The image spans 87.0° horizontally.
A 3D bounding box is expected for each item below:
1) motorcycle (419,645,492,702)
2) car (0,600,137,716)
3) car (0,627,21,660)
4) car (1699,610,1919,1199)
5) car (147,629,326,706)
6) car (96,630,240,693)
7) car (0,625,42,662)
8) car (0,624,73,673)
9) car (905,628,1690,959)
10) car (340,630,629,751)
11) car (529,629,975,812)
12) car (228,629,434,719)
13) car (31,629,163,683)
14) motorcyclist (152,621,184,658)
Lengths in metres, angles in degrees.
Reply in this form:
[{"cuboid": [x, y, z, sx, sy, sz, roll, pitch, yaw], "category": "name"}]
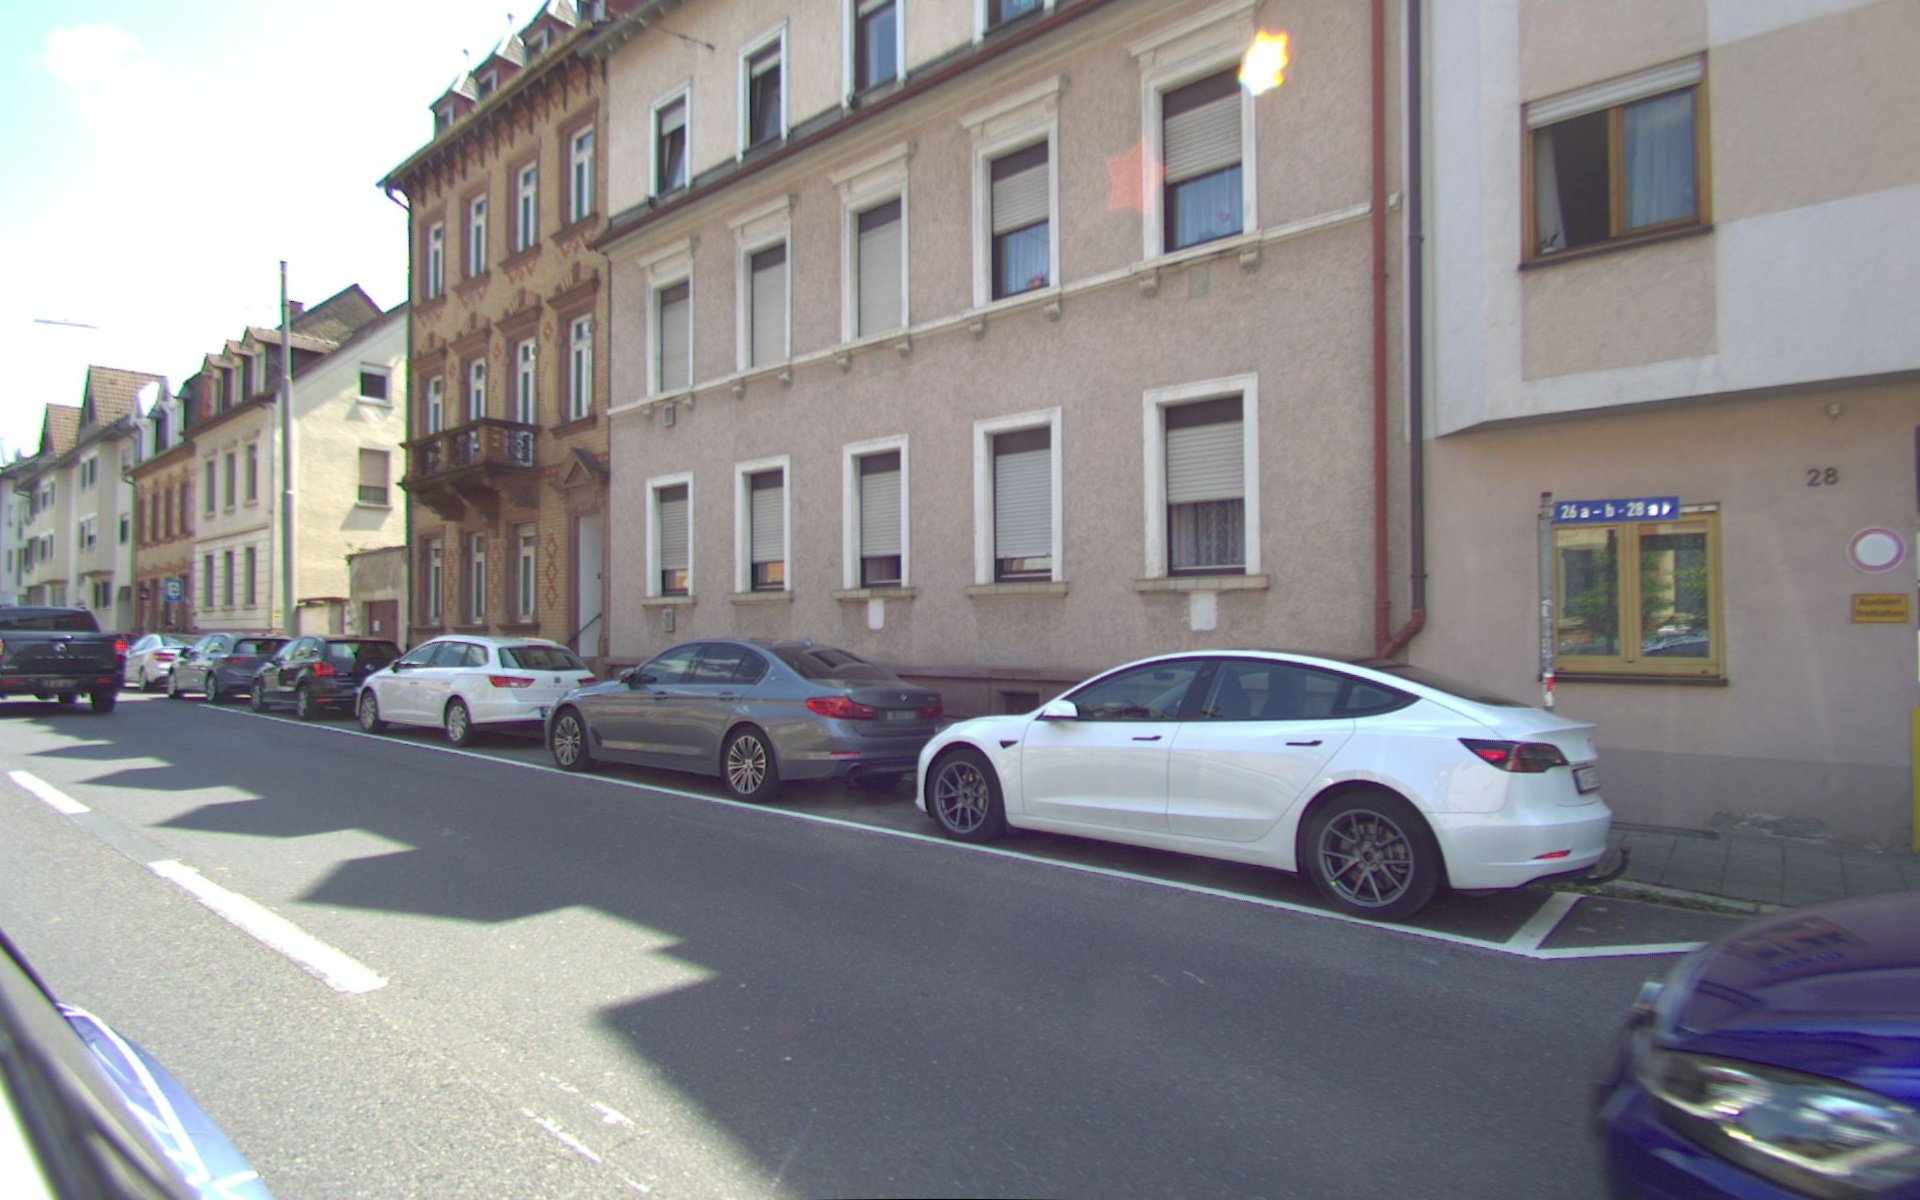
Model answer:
[{"cuboid": [-10.379, 1.485, 20.784, 1.936, 1.061, 0.705, -1, -2, 43], "category": "motorcycle"}, {"cuboid": [-16.603, 0.985, 18.066, 5.144, 1.806, 1.973, -1, -3, 40], "category": "car"}, {"cuboid": [-46.366, 2.076, 48.151, 4.380, 1.499, 1.822, -1, -1, 38], "category": "car"}, {"cuboid": [3.208, 0.711, 0.905, 3.997, 1.399, 1.797, -1, -3, 40], "category": "car"}, {"cuboid": [-15.657, 1.428, 21.817, 4.496, 1.433, 1.822, -1, -6, 38], "category": "car"}, {"cuboid": [-20.018, 1.521, 25.527, 4.497, 1.433, 1.822, -1, -4, 39], "category": "car"}, {"cuboid": [-42.539, 1.905, 44.941, 4.494, 1.499, 1.823, -1, 0, 37], "category": "car"}, {"cuboid": [-33.404, 1.706, 36.106, 4.497, 1.609, 1.822, -1, -4, 39], "category": "car"}, {"cuboid": [1.916, 0.956, 6.673, 4.556, 1.433, 1.820, -1, -5, 41], "category": "car"}, {"cuboid": [-6.863, 1.197, 14.414, 4.495, 1.433, 1.822, -1, -4, 38], "category": "car"}, {"cuboid": [-2.256, 1.060, 10.284, 4.639, 1.433, 1.822, -1, -4, 38], "category": "car"}, {"cuboid": [-11.493, 1.308, 18.359, 4.499, 1.433, 1.821, -1, -6, 41], "category": "car"}, {"cuboid": [-25.036, 1.615, 29.318, 4.493, 1.433, 1.823, -1, -5, 36], "category": "car"}, {"cuboid": [-27.592, 1.376, 35.267, 0.711, 1.257, 0.711, -1, -2, 38], "category": "motorcyclist"}]
